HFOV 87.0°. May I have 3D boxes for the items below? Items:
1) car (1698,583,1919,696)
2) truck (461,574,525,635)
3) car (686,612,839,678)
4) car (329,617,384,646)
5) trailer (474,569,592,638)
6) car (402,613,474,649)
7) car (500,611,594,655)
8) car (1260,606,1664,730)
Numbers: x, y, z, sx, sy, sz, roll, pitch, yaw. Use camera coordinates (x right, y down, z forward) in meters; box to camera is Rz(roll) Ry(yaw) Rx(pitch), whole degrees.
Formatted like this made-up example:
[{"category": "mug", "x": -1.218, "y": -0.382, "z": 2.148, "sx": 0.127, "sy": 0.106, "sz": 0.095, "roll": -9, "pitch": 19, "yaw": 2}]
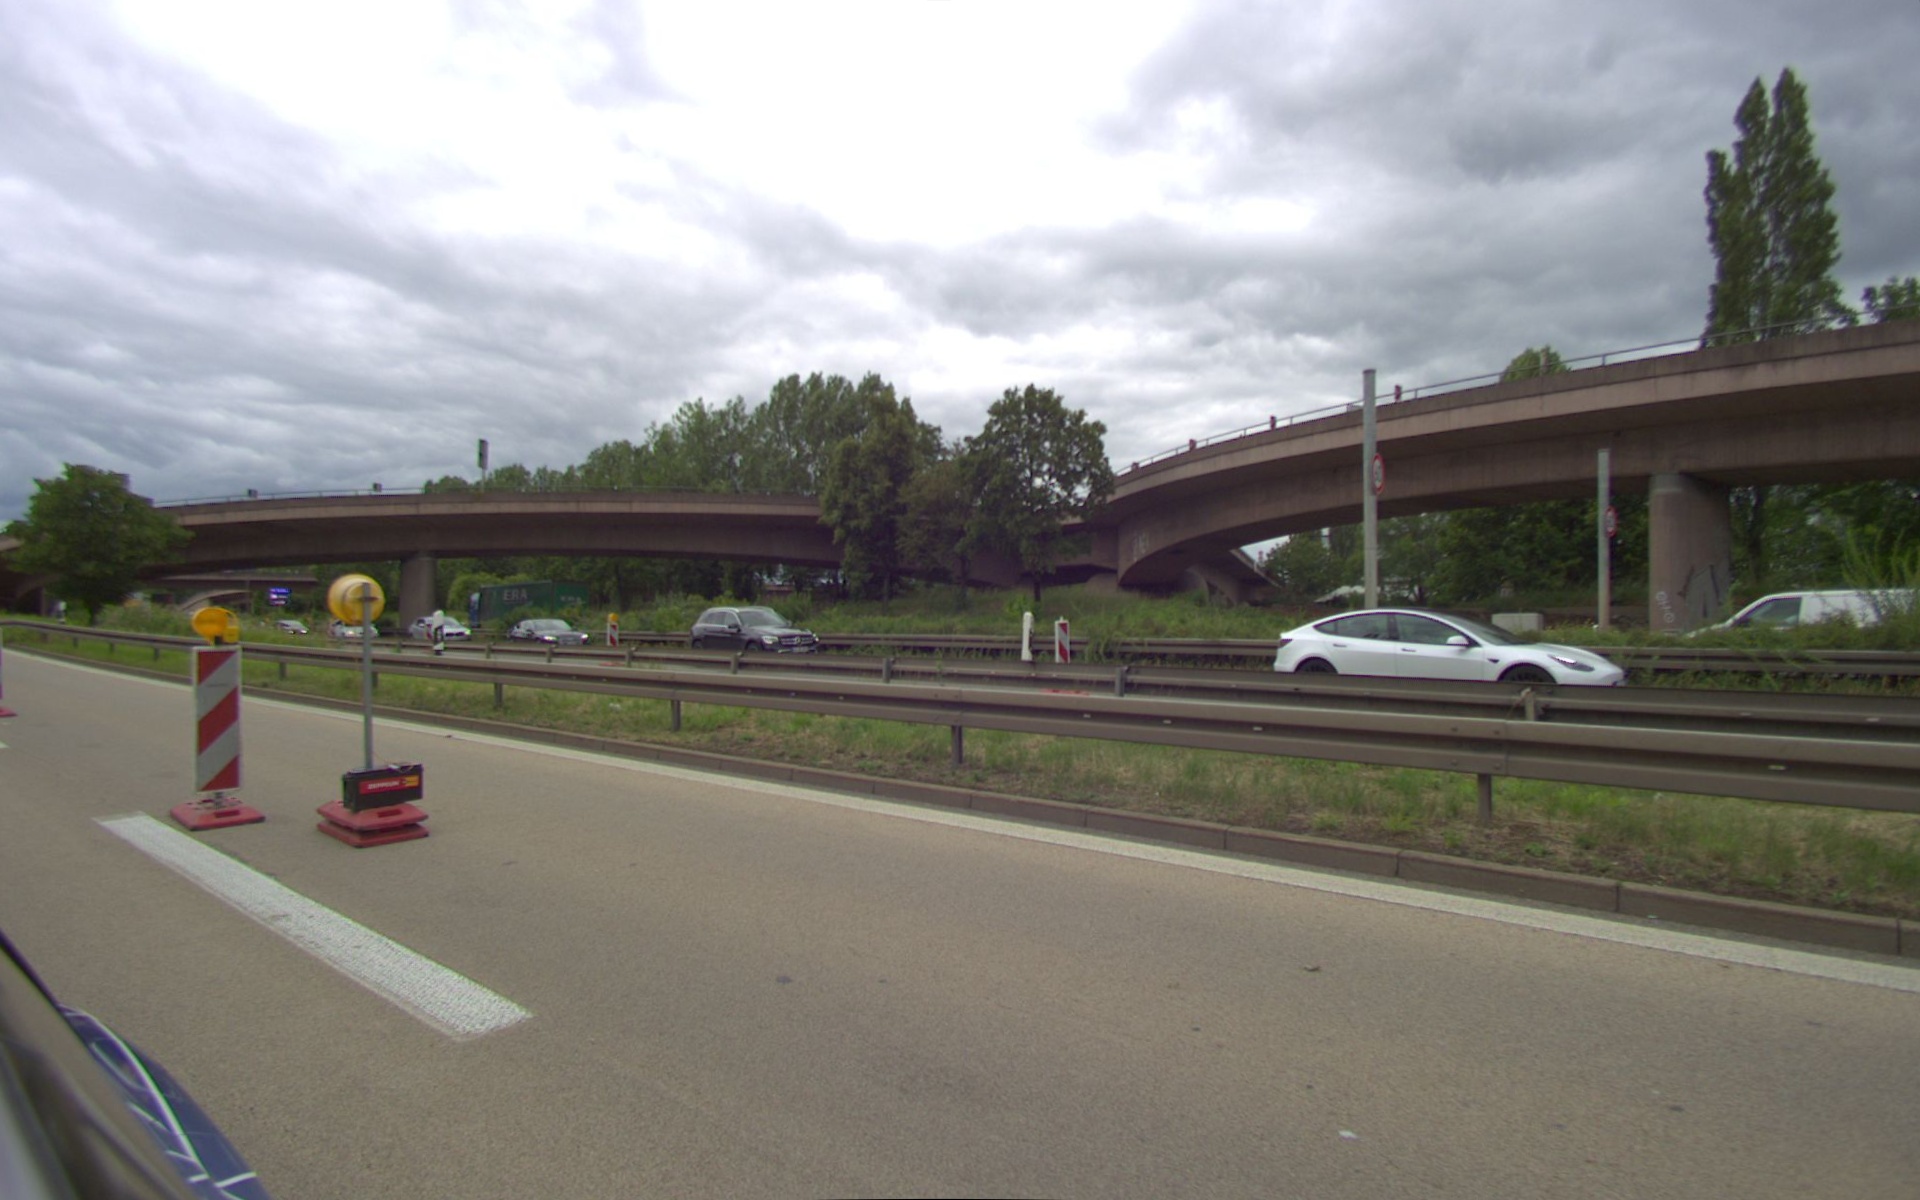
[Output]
[{"category": "car", "x": 17.325, "y": 0.729, "z": 19.585, "sx": 4.709, "sy": 2.029, "sz": 1.971, "roll": -1, "pitch": -1, "yaw": 43}, {"category": "truck", "x": -34.453, "y": 0.358, "z": 74.633, "sx": 2.720, "sy": 4.304, "sz": 5.508, "roll": 1, "pitch": -1, "yaw": -43}, {"category": "car", "x": -5.460, "y": 1.155, "z": 27.629, "sx": 2.013, "sy": 1.627, "sz": 4.583, "roll": 1, "pitch": -1, "yaw": -43}, {"category": "car", "x": -36.418, "y": 1.877, "z": 61.015, "sx": 2.013, "sy": 1.627, "sz": 4.299, "roll": 1, "pitch": -1, "yaw": -43}, {"category": "trailer", "x": -29.533, "y": 0.292, "z": 69.405, "sx": 2.739, "sy": 4.327, "sz": 13.991, "roll": 1, "pitch": -1, "yaw": -43}, {"category": "car", "x": -24.864, "y": 1.447, "z": 48.125, "sx": 2.013, "sy": 1.627, "sz": 4.299, "roll": 1, "pitch": -1, "yaw": -43}, {"category": "car", "x": -16.110, "y": 1.236, "z": 39.398, "sx": 2.013, "sy": 1.627, "sz": 4.299, "roll": 1, "pitch": -1, "yaw": -43}, {"category": "car", "x": 6.977, "y": 0.838, "z": 14.511, "sx": 1.969, "sy": 1.466, "sz": 4.806, "roll": 1, "pitch": -1, "yaw": -43}]
